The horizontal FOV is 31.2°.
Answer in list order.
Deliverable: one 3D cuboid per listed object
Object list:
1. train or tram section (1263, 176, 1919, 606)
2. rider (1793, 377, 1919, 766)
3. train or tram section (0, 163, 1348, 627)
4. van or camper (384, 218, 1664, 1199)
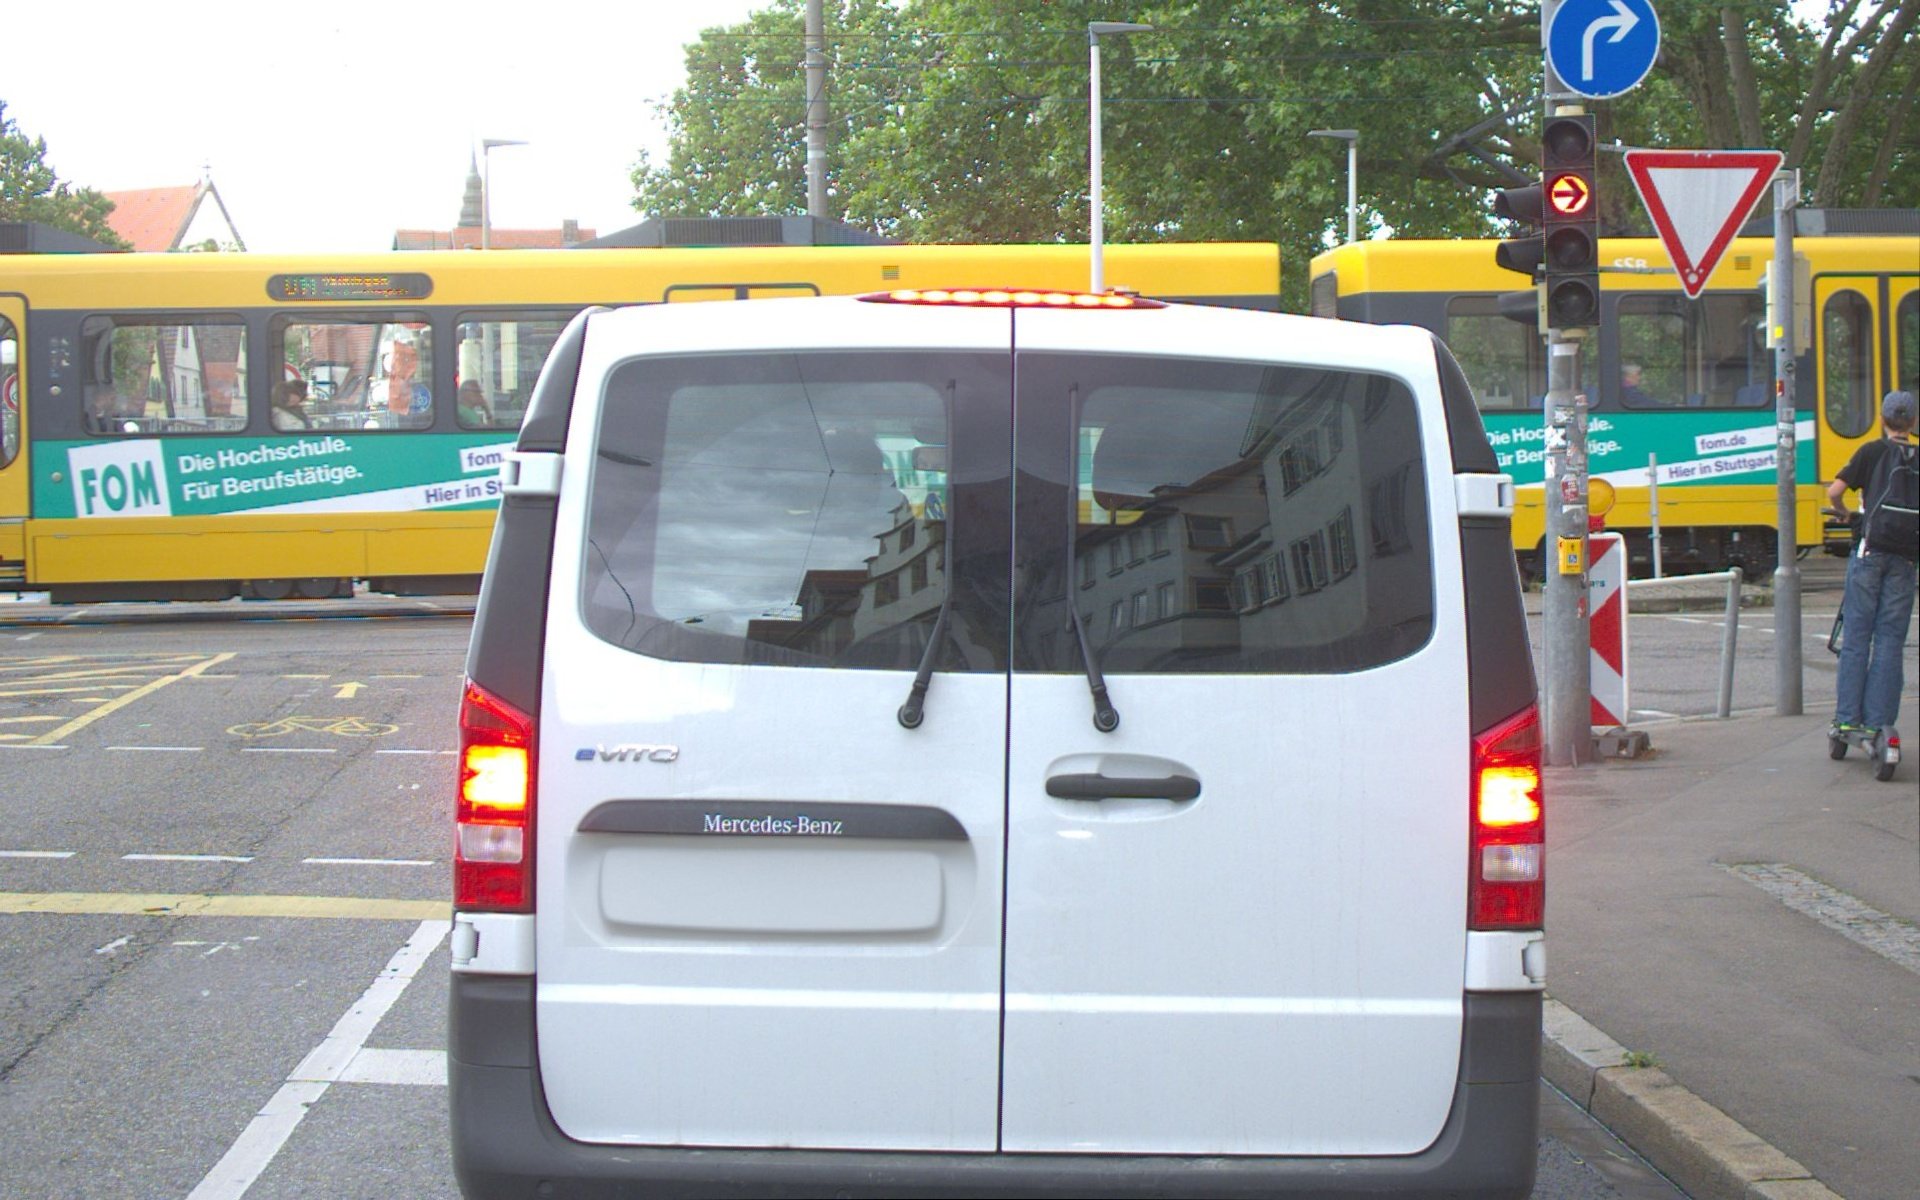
[{"bbox_3d":[12.693,-2.285,35.211,18.766,3.988,3.267,-2,4,-6],"label":"train or tram section"},{"bbox_3d":[4.533,-0.145,16.700,0.718,1.841,0.798,-1,1,-4],"label":"rider"},{"bbox_3d":[-6.094,-1.940,32.889,19.220,3.988,3.311,-2,4,-8],"label":"train or tram section"},{"bbox_3d":[-0.012,0.330,7.474,1.937,1.918,4.442,1,2,-3],"label":"van or camper"}]
